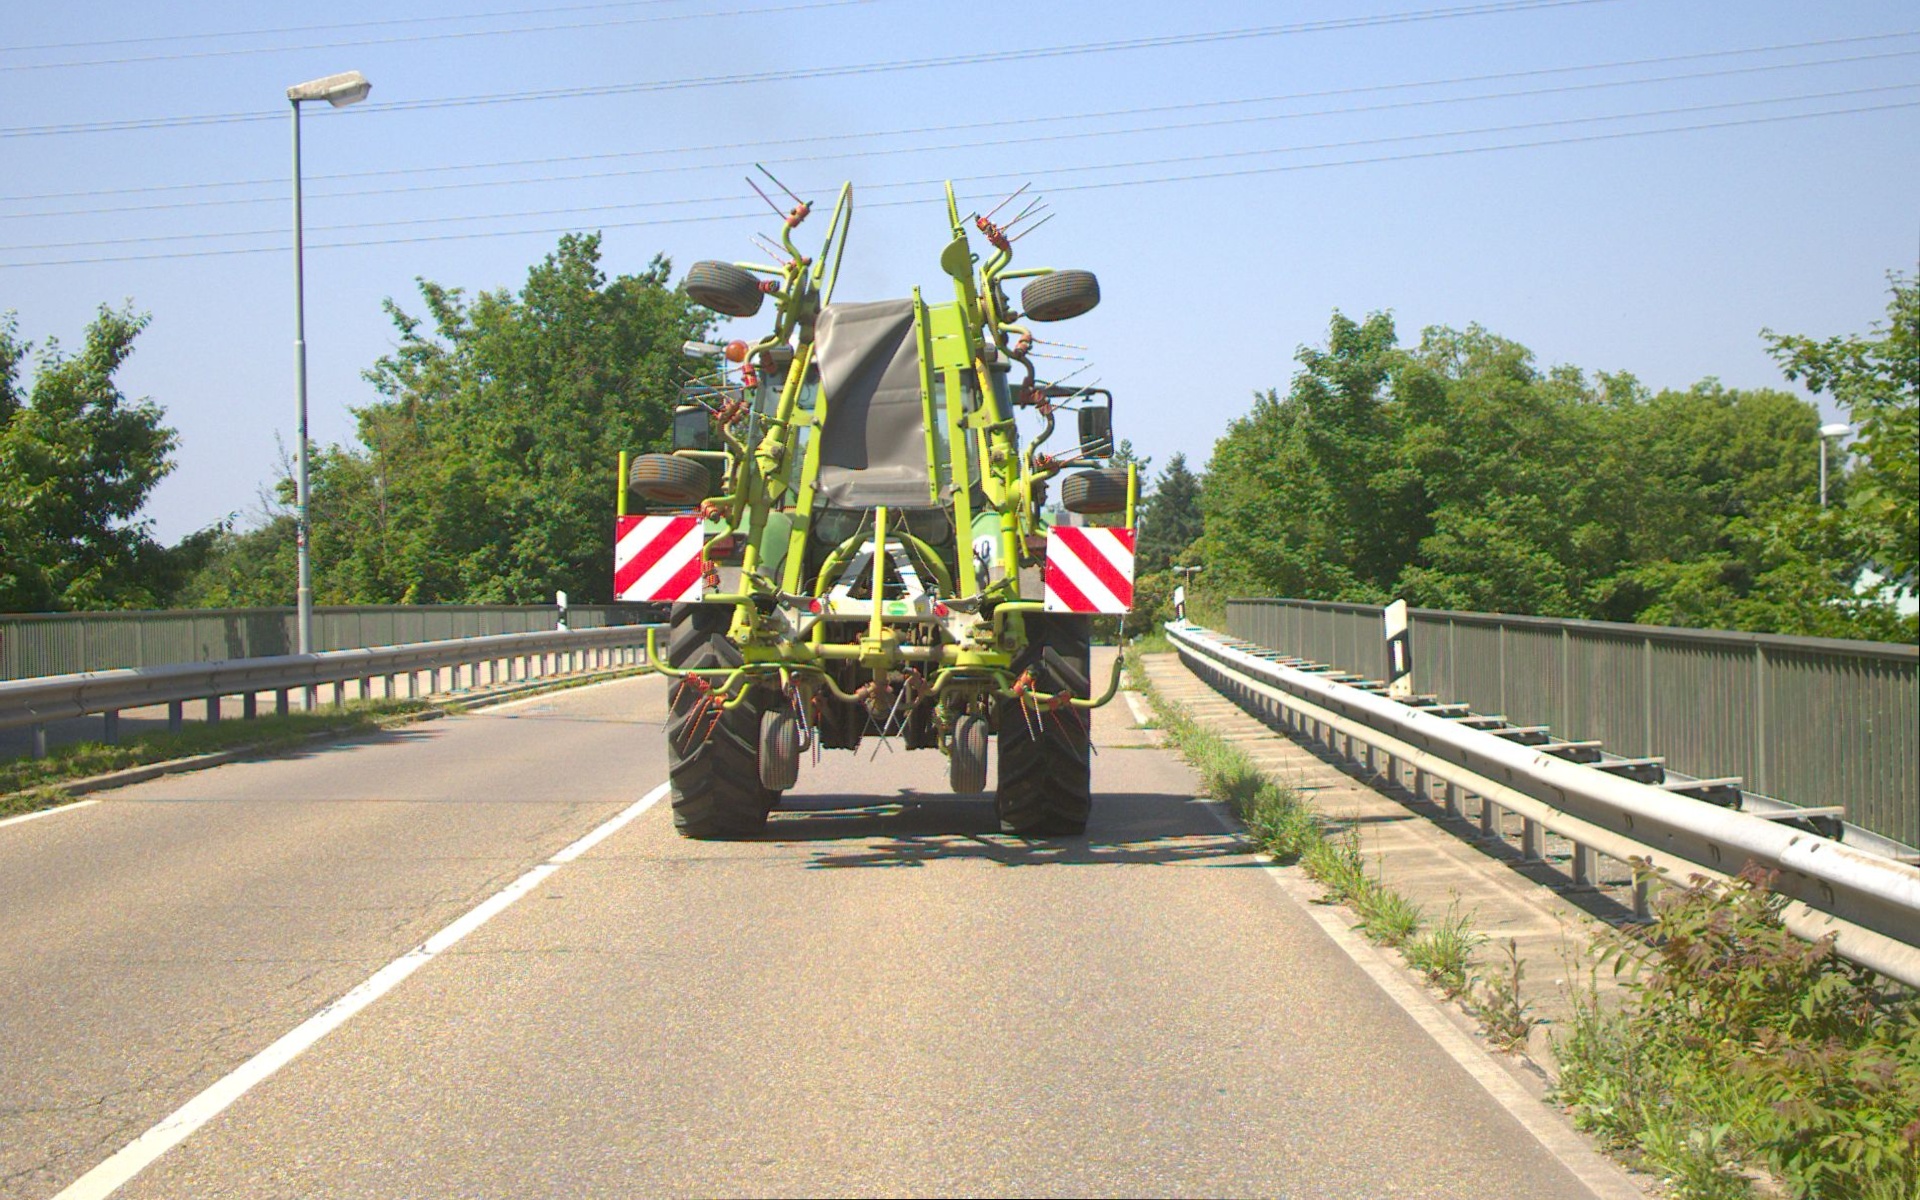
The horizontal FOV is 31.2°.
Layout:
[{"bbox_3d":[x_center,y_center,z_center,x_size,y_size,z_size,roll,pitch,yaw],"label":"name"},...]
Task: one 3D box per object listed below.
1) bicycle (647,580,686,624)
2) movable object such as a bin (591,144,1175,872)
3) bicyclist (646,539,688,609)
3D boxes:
[{"bbox_3d":[-7.217,0.039,84.605,0.677,0.998,2.119,6,0,0],"label":"bicycle"},{"bbox_3d":[-0.410,-0.467,19.071,2.755,3.432,5.670,0,1,-1],"label":"movable object such as a bin"},{"bbox_3d":[-7.216,-0.642,84.657,0.765,1.628,0.895,6,0,1],"label":"bicyclist"}]
